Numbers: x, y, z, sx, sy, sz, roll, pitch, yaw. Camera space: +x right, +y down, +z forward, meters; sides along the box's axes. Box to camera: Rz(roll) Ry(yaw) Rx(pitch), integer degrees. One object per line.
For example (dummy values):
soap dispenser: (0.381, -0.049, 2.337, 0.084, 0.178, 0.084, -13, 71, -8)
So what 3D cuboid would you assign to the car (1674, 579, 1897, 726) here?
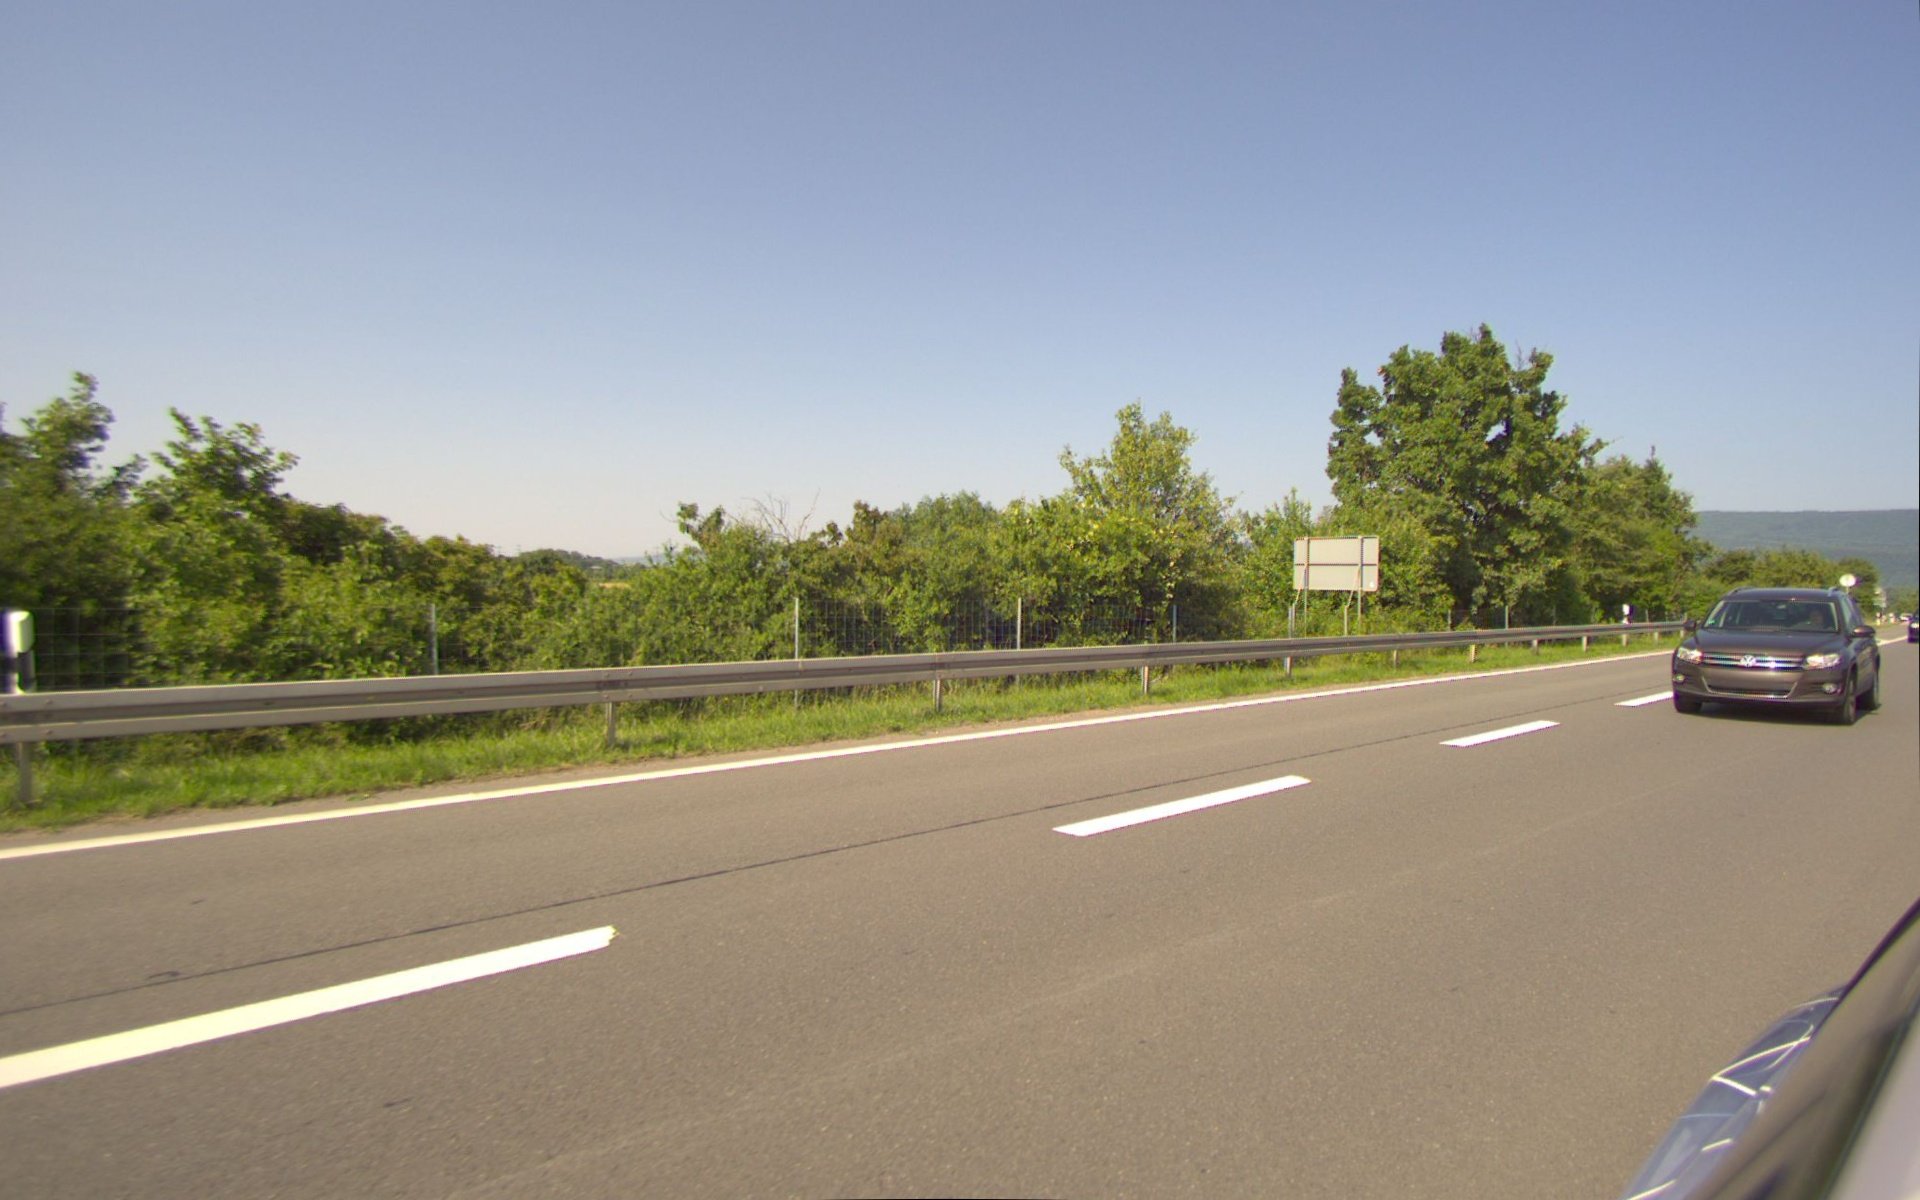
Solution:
car: (11.167, 0.583, 13.589, 4.077, 1.667, 1.787, 0, 0, -43)

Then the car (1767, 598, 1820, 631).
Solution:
car: (44.865, 0.749, 54.547, 1.853, 1.687, 3.950, 0, 0, 34)
